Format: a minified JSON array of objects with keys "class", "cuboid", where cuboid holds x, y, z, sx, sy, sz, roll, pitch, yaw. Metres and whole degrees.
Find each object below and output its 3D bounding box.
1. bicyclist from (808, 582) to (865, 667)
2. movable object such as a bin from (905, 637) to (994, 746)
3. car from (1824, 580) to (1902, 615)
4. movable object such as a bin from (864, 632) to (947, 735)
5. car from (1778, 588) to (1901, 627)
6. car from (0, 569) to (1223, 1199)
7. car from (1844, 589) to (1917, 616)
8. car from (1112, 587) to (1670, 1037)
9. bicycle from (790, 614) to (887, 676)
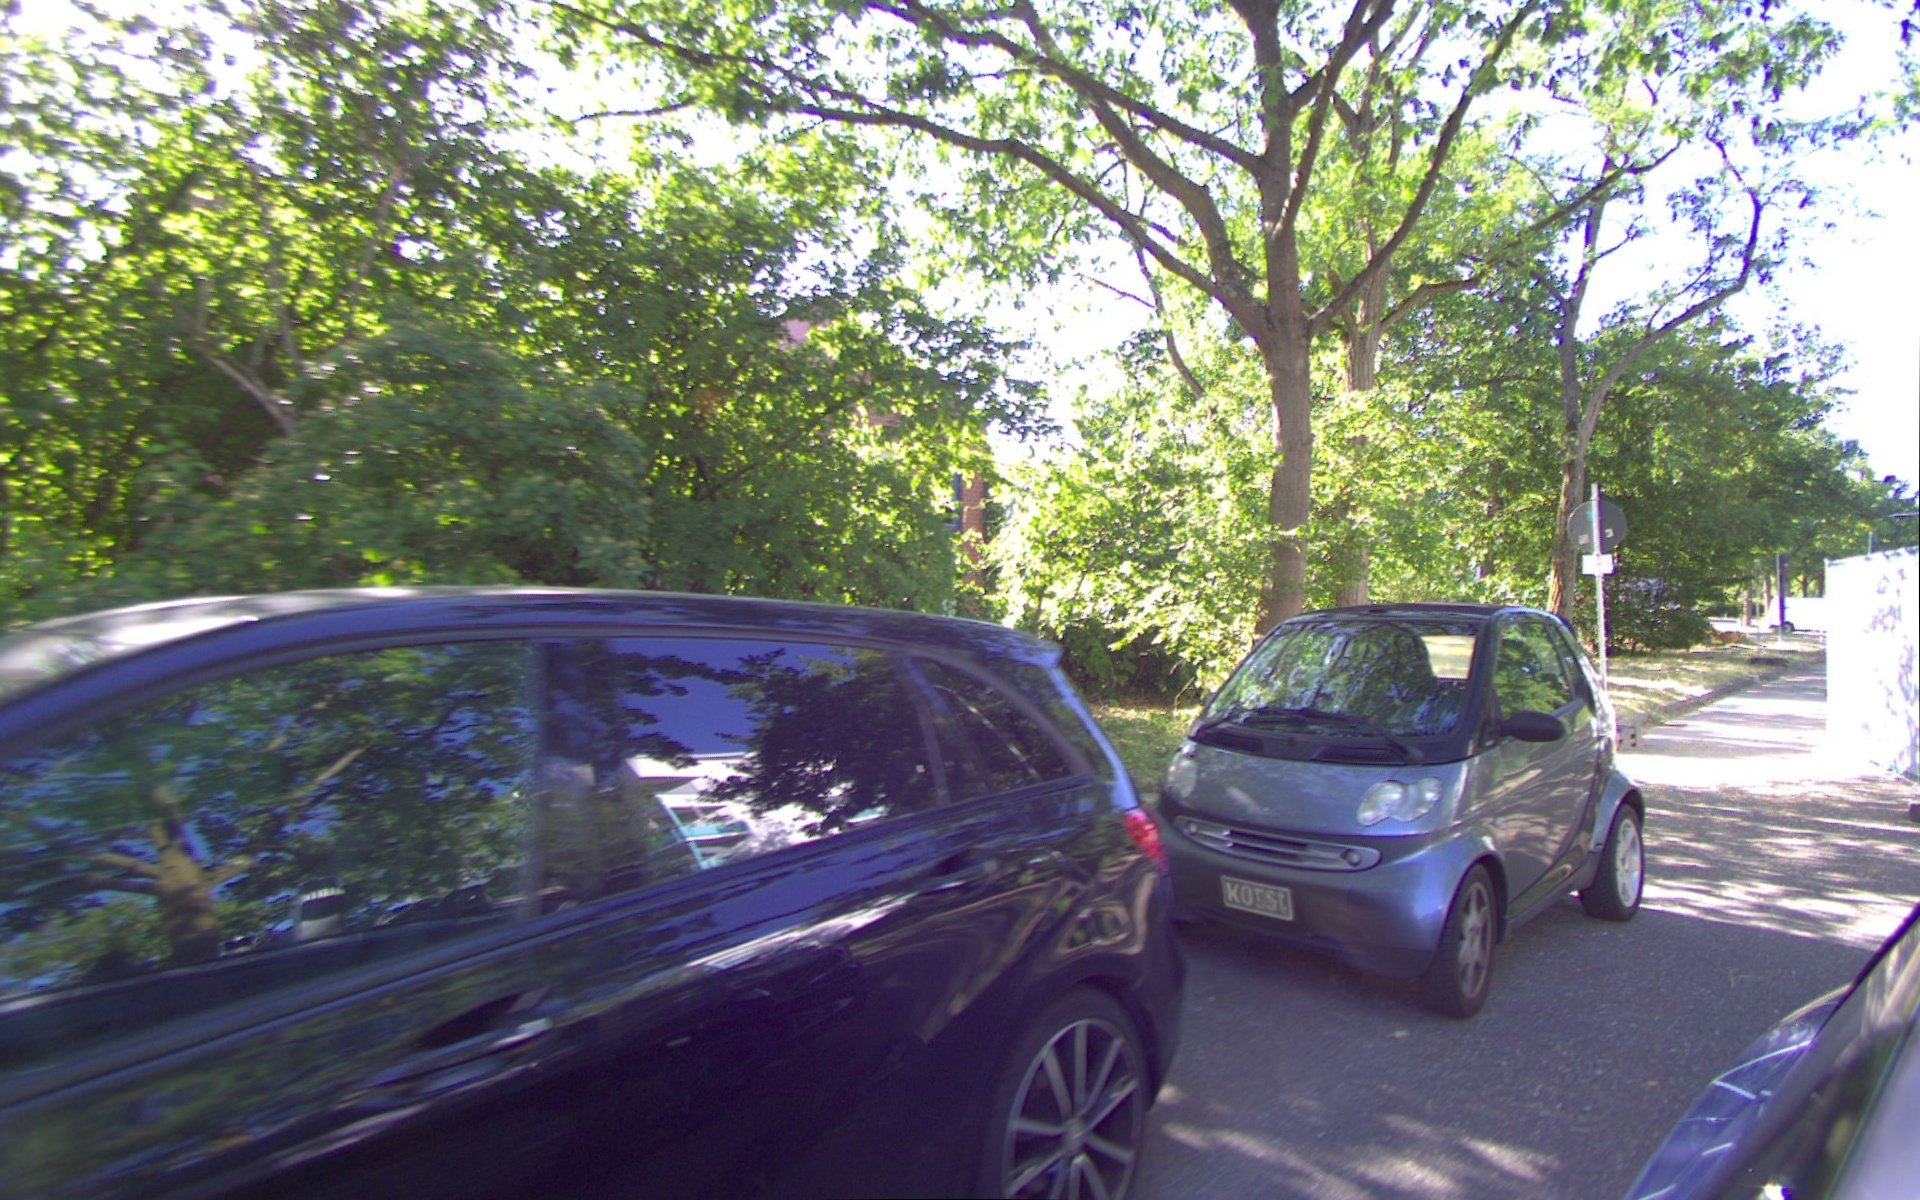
[{"class":"bicyclist","cuboid":[-2.253,0.433,18.462,0.826,1.519,0.632,1,-1,-44]},{"class":"movable object such as a bin","cuboid":[-0.107,0.842,9.549,0.454,0.891,0.728,-7,6,-37]},{"class":"car","cuboid":[69.450,-0.211,77.877,4.398,2.578,1.860,2,1,43]},{"class":"movable object such as a bin","cuboid":[-0.547,0.815,10.142,0.454,0.891,0.728,-7,6,-37]},{"class":"car","cuboid":[50.704,0.395,58.429,1.967,2.030,5.258,1,1,-45]},{"class":"car","cuboid":[-1.331,0.745,1.747,1.711,1.529,4.084,-1,-1,43]},{"class":"car","cuboid":[73.610,0.184,80.996,4.231,2.030,1.541,2,1,43]},{"class":"car","cuboid":[2.163,0.731,4.892,2.630,1.529,1.496,0,-1,-41]},{"class":"bicycle","cuboid":[-2.206,0.795,18.502,1.756,1.053,0.632,0,0,-45]}]
